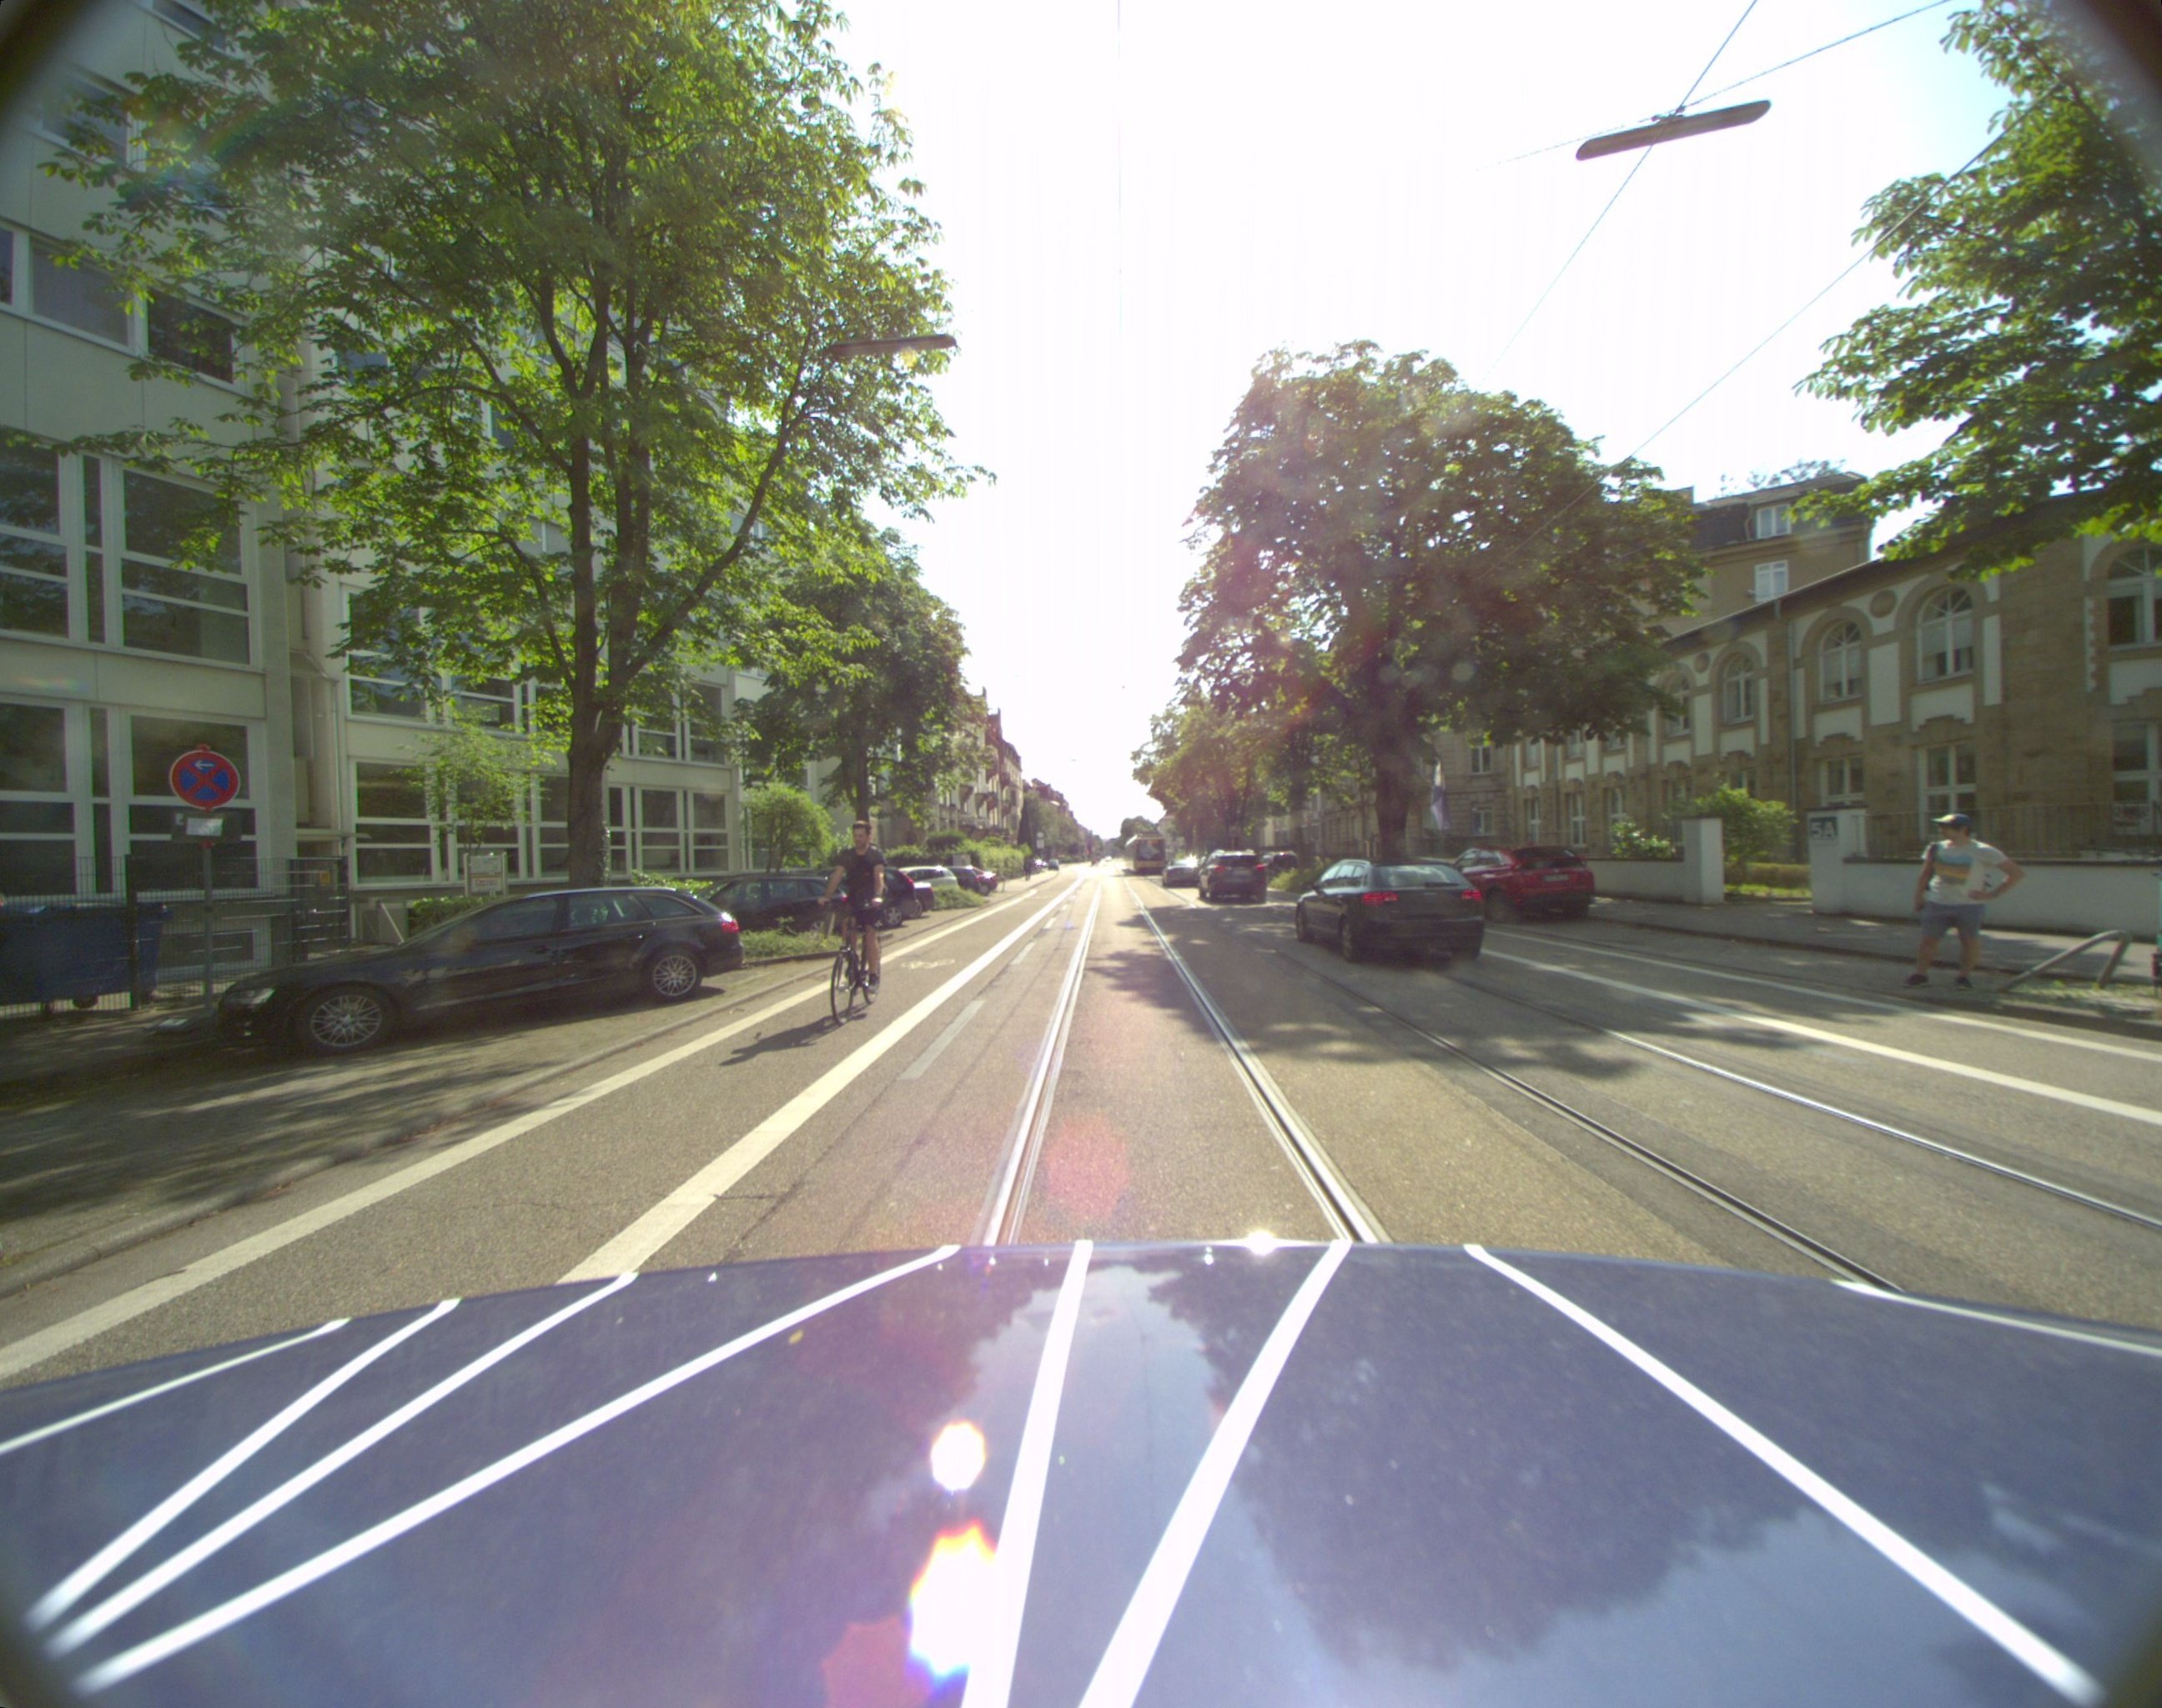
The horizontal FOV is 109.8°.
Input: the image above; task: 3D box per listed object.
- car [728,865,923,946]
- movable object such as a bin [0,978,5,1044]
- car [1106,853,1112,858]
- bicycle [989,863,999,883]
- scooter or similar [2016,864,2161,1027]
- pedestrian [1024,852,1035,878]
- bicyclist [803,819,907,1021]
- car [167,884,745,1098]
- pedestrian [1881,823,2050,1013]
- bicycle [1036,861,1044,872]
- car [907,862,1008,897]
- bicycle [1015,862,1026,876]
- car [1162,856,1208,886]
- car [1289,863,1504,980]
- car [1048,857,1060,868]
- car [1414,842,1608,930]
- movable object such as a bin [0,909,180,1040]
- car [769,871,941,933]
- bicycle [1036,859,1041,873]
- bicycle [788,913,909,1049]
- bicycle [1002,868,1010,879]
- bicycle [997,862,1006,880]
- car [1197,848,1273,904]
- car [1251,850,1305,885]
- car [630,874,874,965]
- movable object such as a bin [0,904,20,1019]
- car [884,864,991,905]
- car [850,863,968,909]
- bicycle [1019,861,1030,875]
[{"bbox_3d":[-6.152,1.177,18.519,4.007,1.565,1.900,-3,0,-40],"label":"car"},{"bbox_3d":[-11.971,1.254,7.230,1.278,1.530,1.469,-2,1,2],"label":"movable object such as a bin"},{"bbox_3d":[9.051,0.425,243.940,1.860,1.455,4.000,-2,0,2],"label":"car"},{"bbox_3d":[-5.102,1.090,44.475,0.280,1.102,2.011,2,1,2],"label":"bicycle"},{"bbox_3d":[9.500,0.768,6.733,1.342,1.272,0.855,-3,1,1],"label":"scooter or similar"},{"bbox_3d":[-3.678,0.765,54.137,0.790,1.851,0.580,1,1,-6],"label":"pedestrian"},{"bbox_3d":[-2.322,0.637,7.932,0.608,1.937,1.130,-3,1,2],"label":"bicyclist"},{"bbox_3d":[-6.547,1.229,8.581,4.544,1.434,2.026,-4,1,-43],"label":"car"},{"bbox_3d":[8.803,0.606,7.592,0.790,1.756,0.752,-3,1,-7],"label":"pedestrian"},{"bbox_3d":[-4.077,1.234,75.395,0.600,0.955,3.066,2,0,-1],"label":"bicycle"},{"bbox_3d":[-5.595,1.132,34.727,4.168,1.415,1.861,-1,0,-40],"label":"car"},{"bbox_3d":[-4.547,1.104,56.811,0.614,0.983,1.872,1,1,1],"label":"bicycle"},{"bbox_3d":[5.130,0.821,37.942,1.803,1.380,4.426,-1,0,2],"label":"car"},{"bbox_3d":[4.461,0.863,11.432,1.727,1.368,4.000,-1,0,3],"label":"car"},{"bbox_3d":[-3.639,1.152,103.417,1.517,1.490,2.794,1,0,0],"label":"car"},{"bbox_3d":[9.523,0.617,17.356,1.754,1.656,4.720,-3,0,1],"label":"car"},{"bbox_3d":[-12.038,1.377,8.916,1.278,1.311,1.326,-2,1,2],"label":"movable object such as a bin"},{"bbox_3d":[-6.296,1.288,21.464,4.183,1.341,1.900,-3,0,-43],"label":"car"},{"bbox_3d":[-3.930,1.108,70.269,0.452,1.253,1.844,1,0,-1],"label":"bicycle"},{"bbox_3d":[-2.339,1.232,7.871,0.617,1.039,1.835,2,2,2],"label":"bicycle"},{"bbox_3d":[-4.932,1.278,49.905,0.280,0.673,1.559,2,1,2],"label":"bicycle"},{"bbox_3d":[-4.996,1.060,47.992,0.280,1.102,2.011,2,1,2],"label":"bicycle"},{"bbox_3d":[5.115,0.697,25.784,1.830,1.717,4.392,-1,-1,2],"label":"car"},{"bbox_3d":[10.447,0.678,40.576,1.811,1.631,4.332,-3,0,1],"label":"car"},{"bbox_3d":[-6.453,1.212,15.154,4.084,1.434,1.722,-1,-2,-42],"label":"car"},{"bbox_3d":[-14.495,1.374,9.425,1.376,1.439,1.266,0,1,23],"label":"movable object such as a bin"},{"bbox_3d":[-5.924,1.227,31.564,4.007,1.440,1.695,-2,0,-40],"label":"car"},{"bbox_3d":[-6.320,1.141,28.184,4.008,1.452,1.531,-2,0,-43],"label":"car"},{"bbox_3d":[-4.393,1.106,59.207,0.612,0.990,2.362,1,1,1],"label":"bicycle"}]
